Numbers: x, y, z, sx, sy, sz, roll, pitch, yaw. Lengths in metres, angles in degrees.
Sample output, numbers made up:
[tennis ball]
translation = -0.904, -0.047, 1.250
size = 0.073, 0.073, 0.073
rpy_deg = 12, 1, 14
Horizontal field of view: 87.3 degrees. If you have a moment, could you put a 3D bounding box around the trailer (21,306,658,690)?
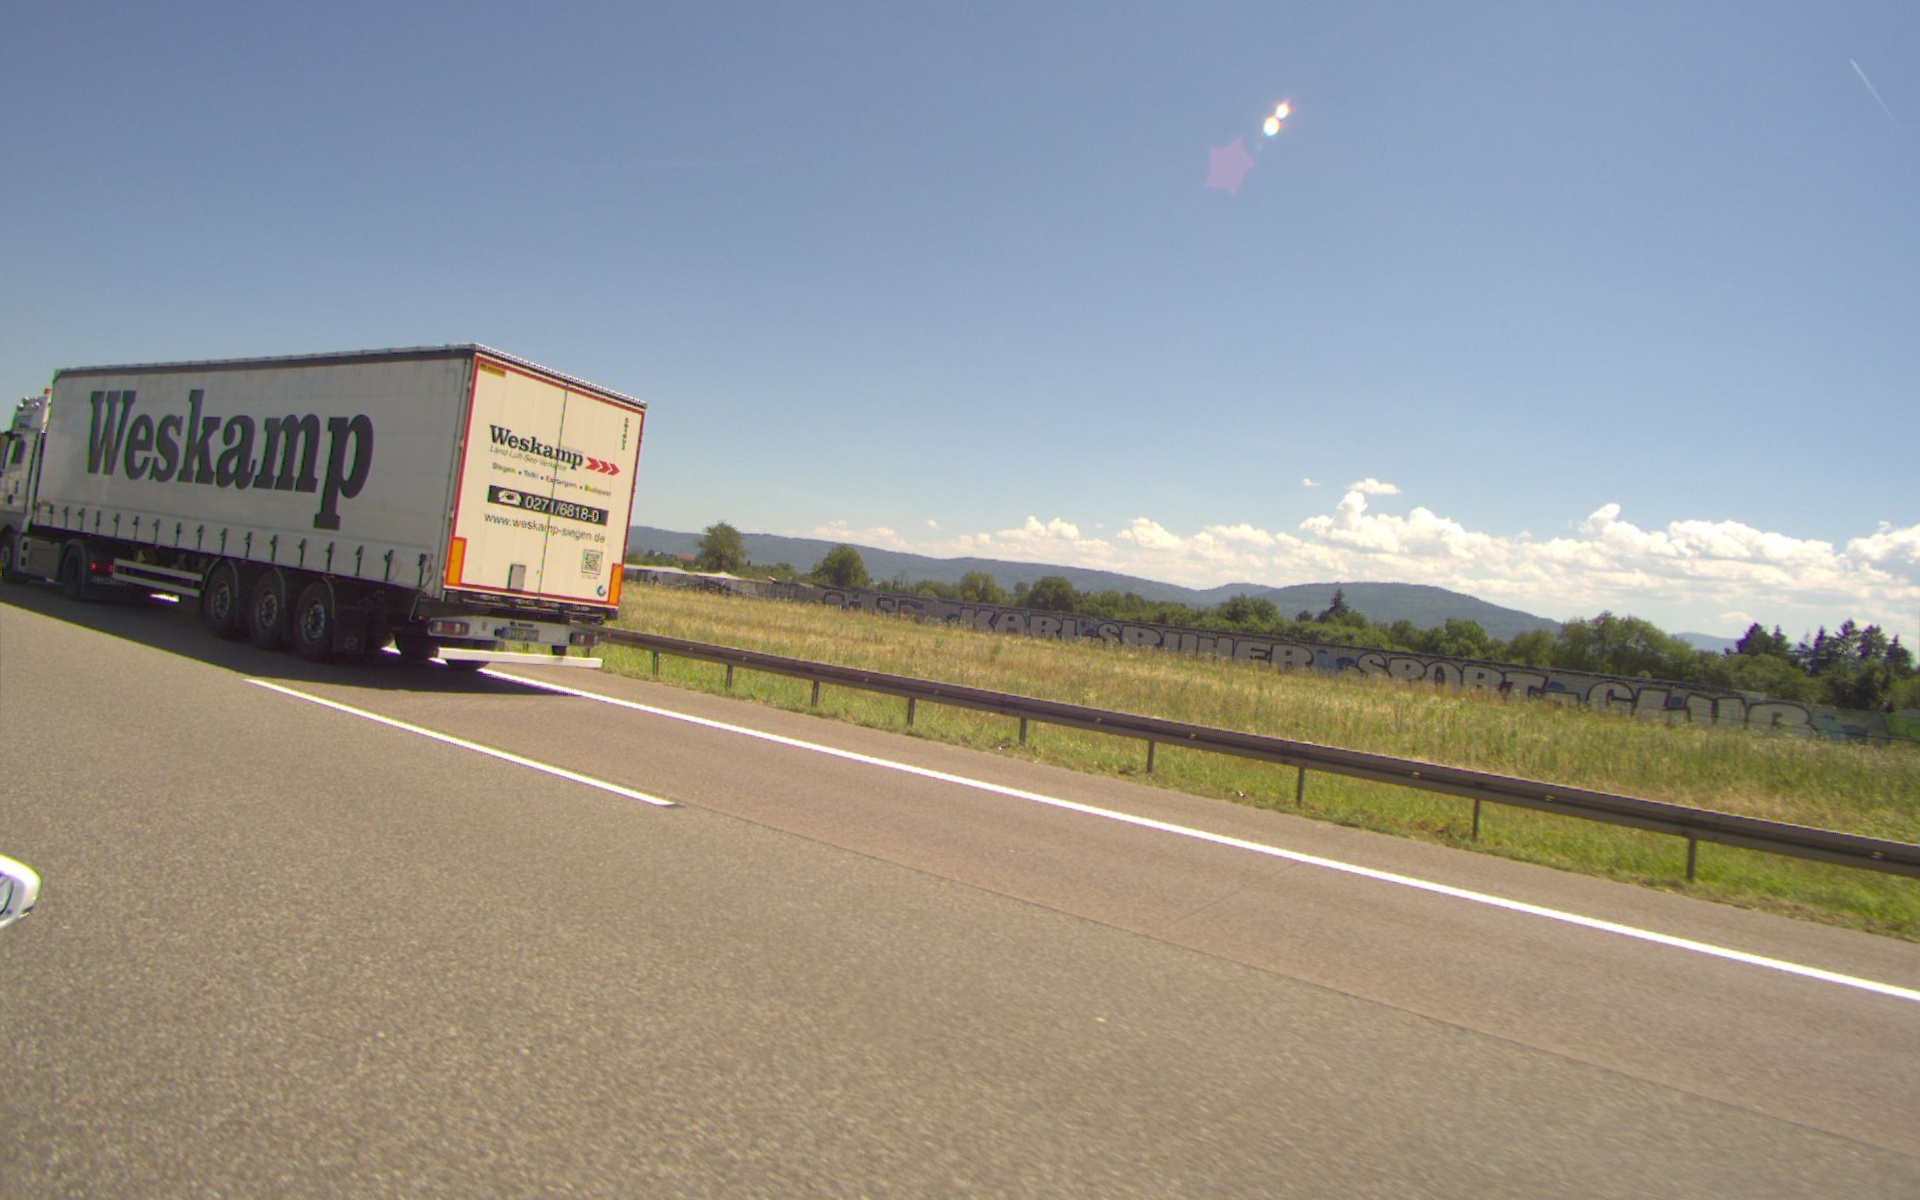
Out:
[trailer]
translation = -10.655, -1.640, 16.028
size = 13.416, 4.301, 2.600
rpy_deg = 6, -2, 32

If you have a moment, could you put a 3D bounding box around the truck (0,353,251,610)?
[truck]
translation = -17.019, -2.309, 20.027
size = 5.005, 4.306, 2.605
rpy_deg = 7, -1, 32
